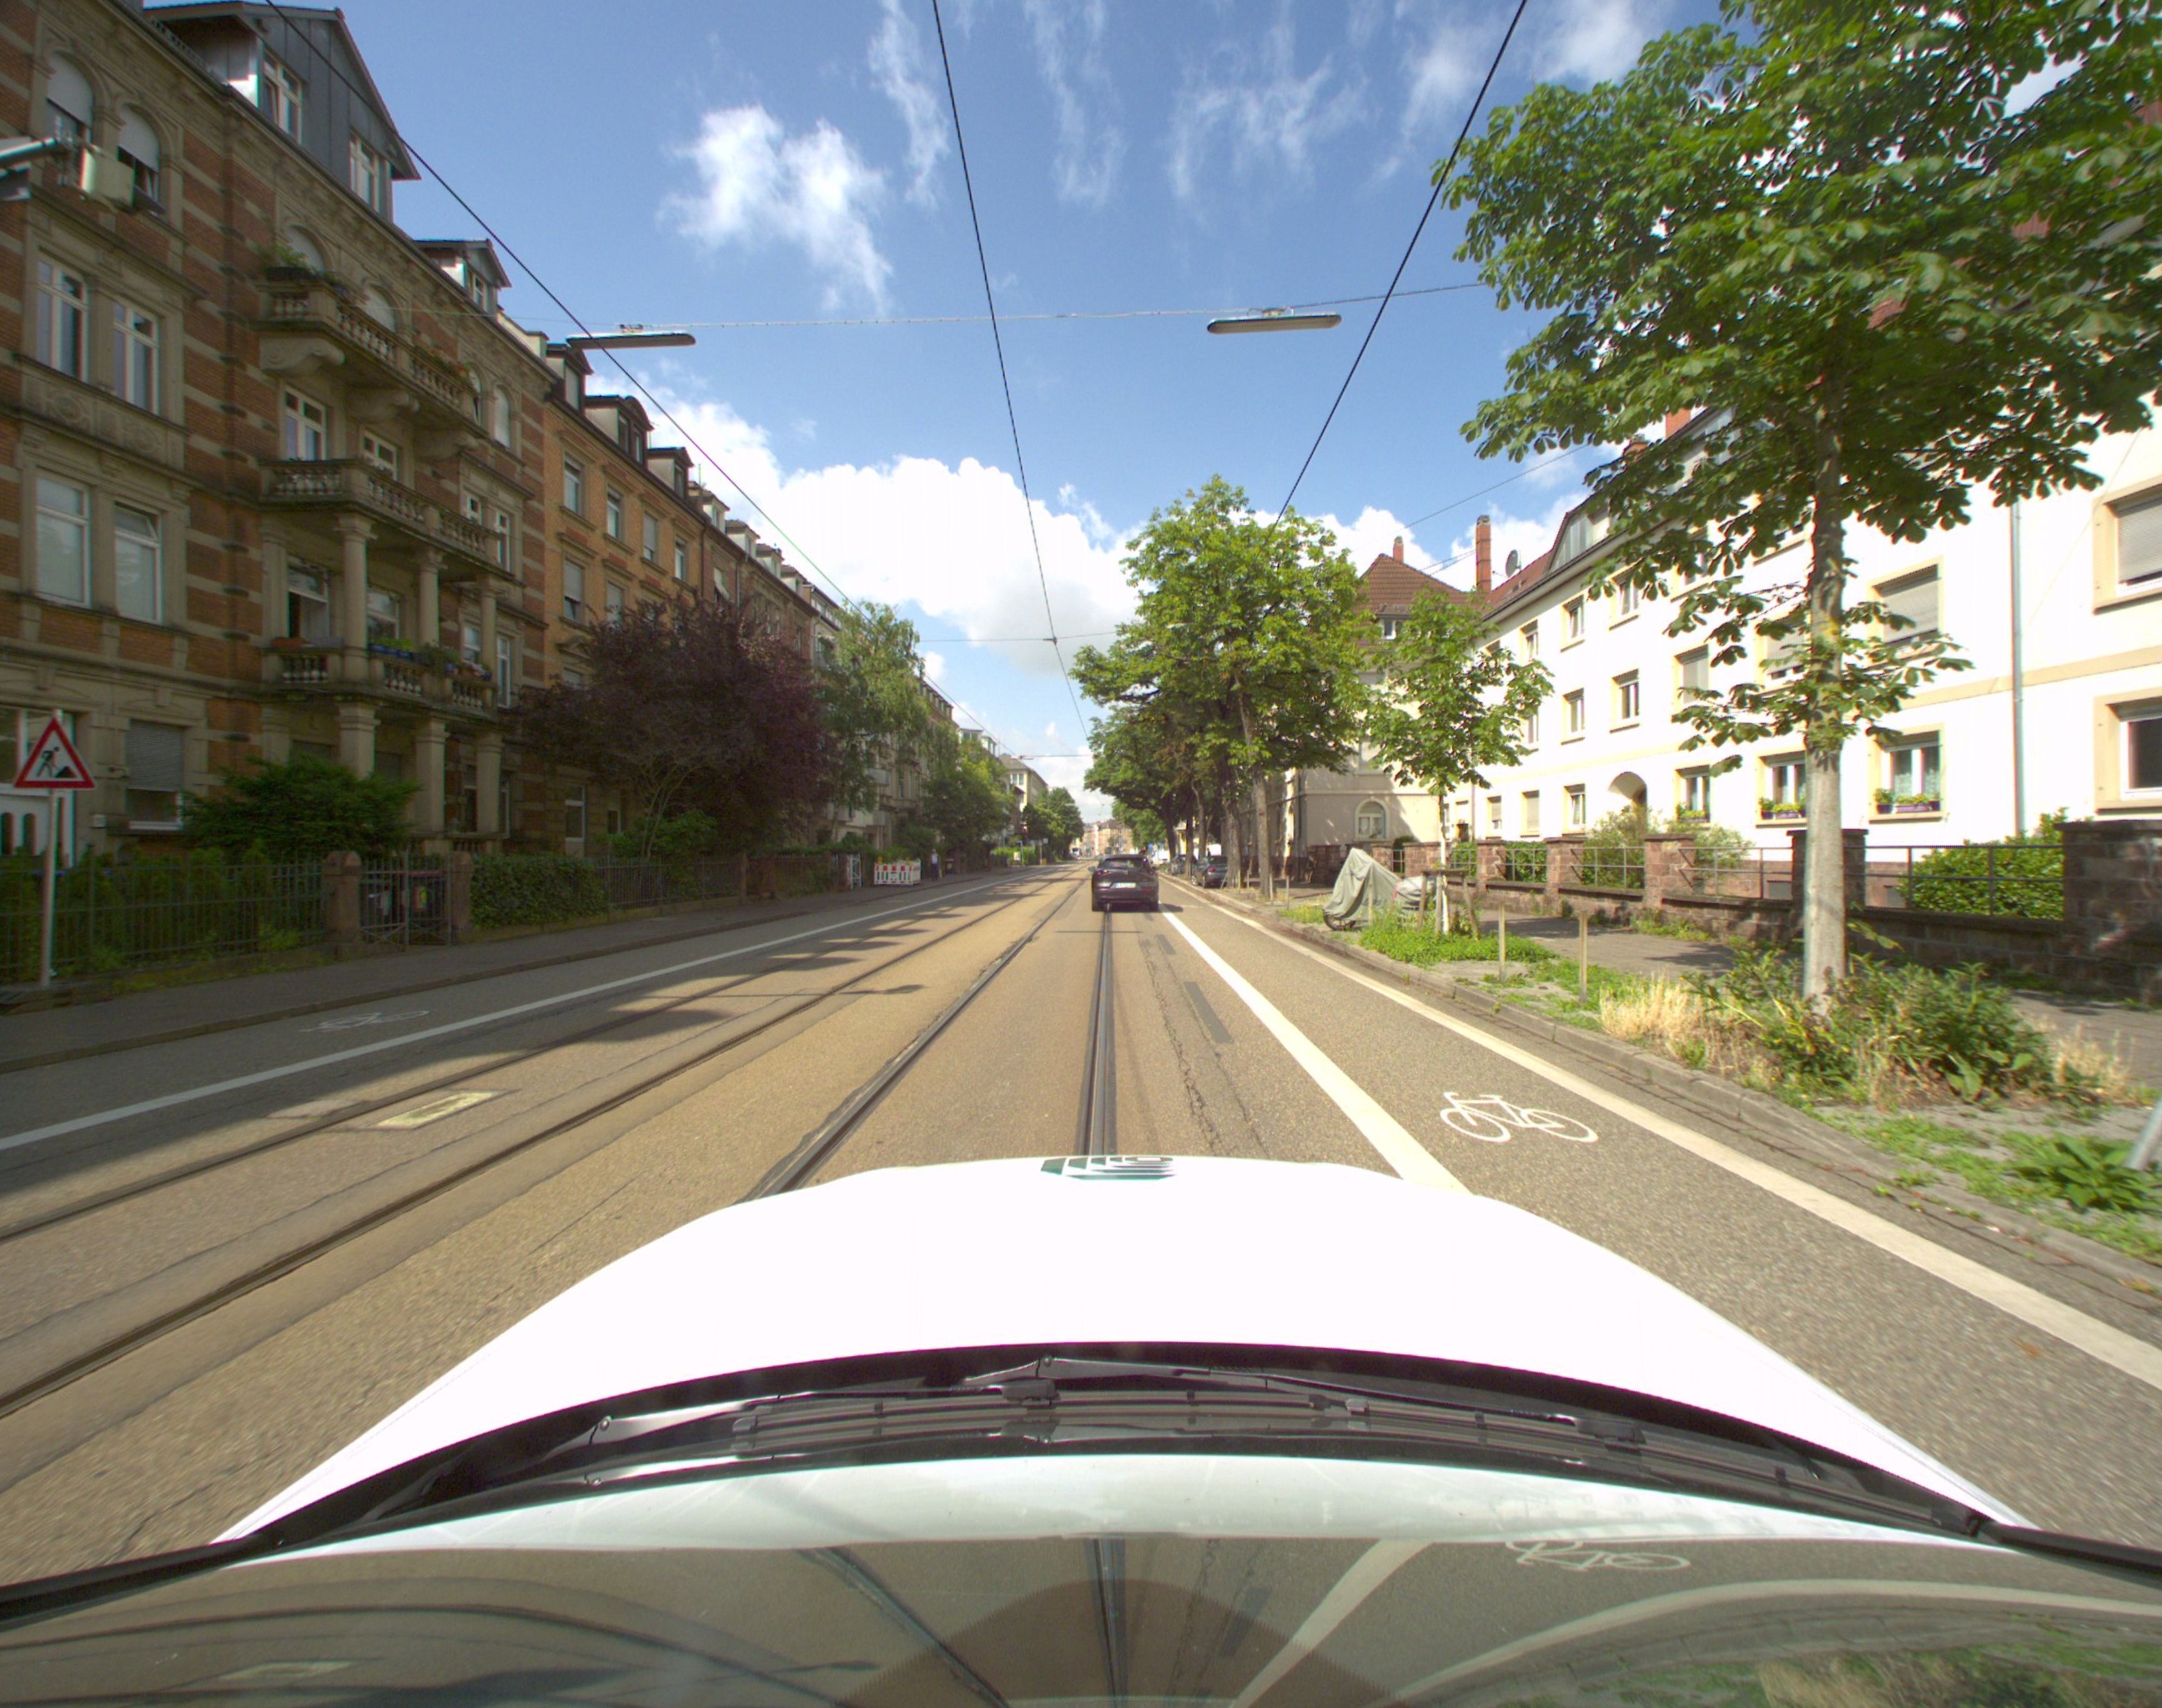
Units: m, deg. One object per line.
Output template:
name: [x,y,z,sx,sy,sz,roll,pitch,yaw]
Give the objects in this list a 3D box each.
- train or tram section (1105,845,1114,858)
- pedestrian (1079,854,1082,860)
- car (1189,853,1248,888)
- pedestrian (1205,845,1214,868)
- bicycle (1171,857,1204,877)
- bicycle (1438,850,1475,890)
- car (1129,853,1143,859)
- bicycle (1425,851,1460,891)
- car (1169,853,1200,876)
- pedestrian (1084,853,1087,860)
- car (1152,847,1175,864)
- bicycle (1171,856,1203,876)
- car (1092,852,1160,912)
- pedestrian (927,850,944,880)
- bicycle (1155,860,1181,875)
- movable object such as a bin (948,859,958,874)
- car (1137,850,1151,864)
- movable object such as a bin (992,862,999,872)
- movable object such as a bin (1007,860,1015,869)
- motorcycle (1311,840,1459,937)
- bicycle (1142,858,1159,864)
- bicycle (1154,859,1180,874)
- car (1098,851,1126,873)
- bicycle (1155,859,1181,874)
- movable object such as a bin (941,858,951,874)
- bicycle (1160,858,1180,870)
train or tram section: [8.819,-0.698,254.513,2.561,3.772,13.034,-1,0,3]
pedestrian: [-0.079,0.897,227.272,0.749,1.510,0.823,0,0,-3]
car: [6.182,0.704,37.094,1.841,1.409,4.393,-2,0,-1]
pedestrian: [10.614,0.197,67.183,0.608,1.836,0.878,-1,-2,0]
bicycle: [6.534,0.779,50.088,1.923,1.176,0.515,-2,-1,13]
bicycle: [11.711,0.480,25.427,0.410,1.211,1.705,-1,0,3]
car: [16.193,0.449,238.322,3.814,1.618,1.629,2,0,-16]
bicycle: [11.262,0.501,25.400,0.410,1.211,1.705,-1,0,3]
car: [6.927,0.663,54.843,1.659,1.430,3.768,-3,0,2]
pedestrian: [1.302,0.708,251.613,0.882,2.013,0.617,0,0,-2]
car: [9.745,0.212,96.454,1.783,1.938,4.984,-1,0,-4]
bicycle: [6.611,0.768,50.642,1.880,1.176,0.515,-2,-1,13]
car: [1.214,0.723,22.685,1.714,1.526,3.591,-1,0,2]
pedestrian: [-8.177,0.612,45.734,0.820,1.706,0.891,-1,0,-1]
bicycle: [6.330,0.958,59.261,1.896,1.072,0.402,0,0,2]
movable object such as a bin: [-9.250,0.898,58.857,0.535,1.094,0.791,-1,0,7]
car: [8.747,0.402,112.965,1.714,1.968,4.210,-1,0,3]
movable object such as a bin: [-7.647,1.143,72.579,0.560,0.876,0.616,0,0,2]
movable object such as a bin: [-7.336,1.098,85.346,0.742,0.988,1.114,2,0,2]
motorcycle: [5.387,0.558,14.559,2.357,1.597,0.683,2,1,40]
bicycle: [9.323,0.934,109.693,2.267,0.861,0.672,-1,0,0]
bicycle: [6.364,0.947,60.181,1.896,1.072,0.402,0,0,2]
car: [2.357,0.581,62.140,1.986,1.529,4.001,2,0,2]
bicycle: [6.364,0.947,59.778,1.896,1.072,0.402,0,0,2]
movable object such as a bin: [-9.778,0.872,59.019,0.546,1.108,0.791,-1,0,7]
bicycle: [7.025,0.790,64.296,1.485,0.983,0.259,-1,-1,3]
